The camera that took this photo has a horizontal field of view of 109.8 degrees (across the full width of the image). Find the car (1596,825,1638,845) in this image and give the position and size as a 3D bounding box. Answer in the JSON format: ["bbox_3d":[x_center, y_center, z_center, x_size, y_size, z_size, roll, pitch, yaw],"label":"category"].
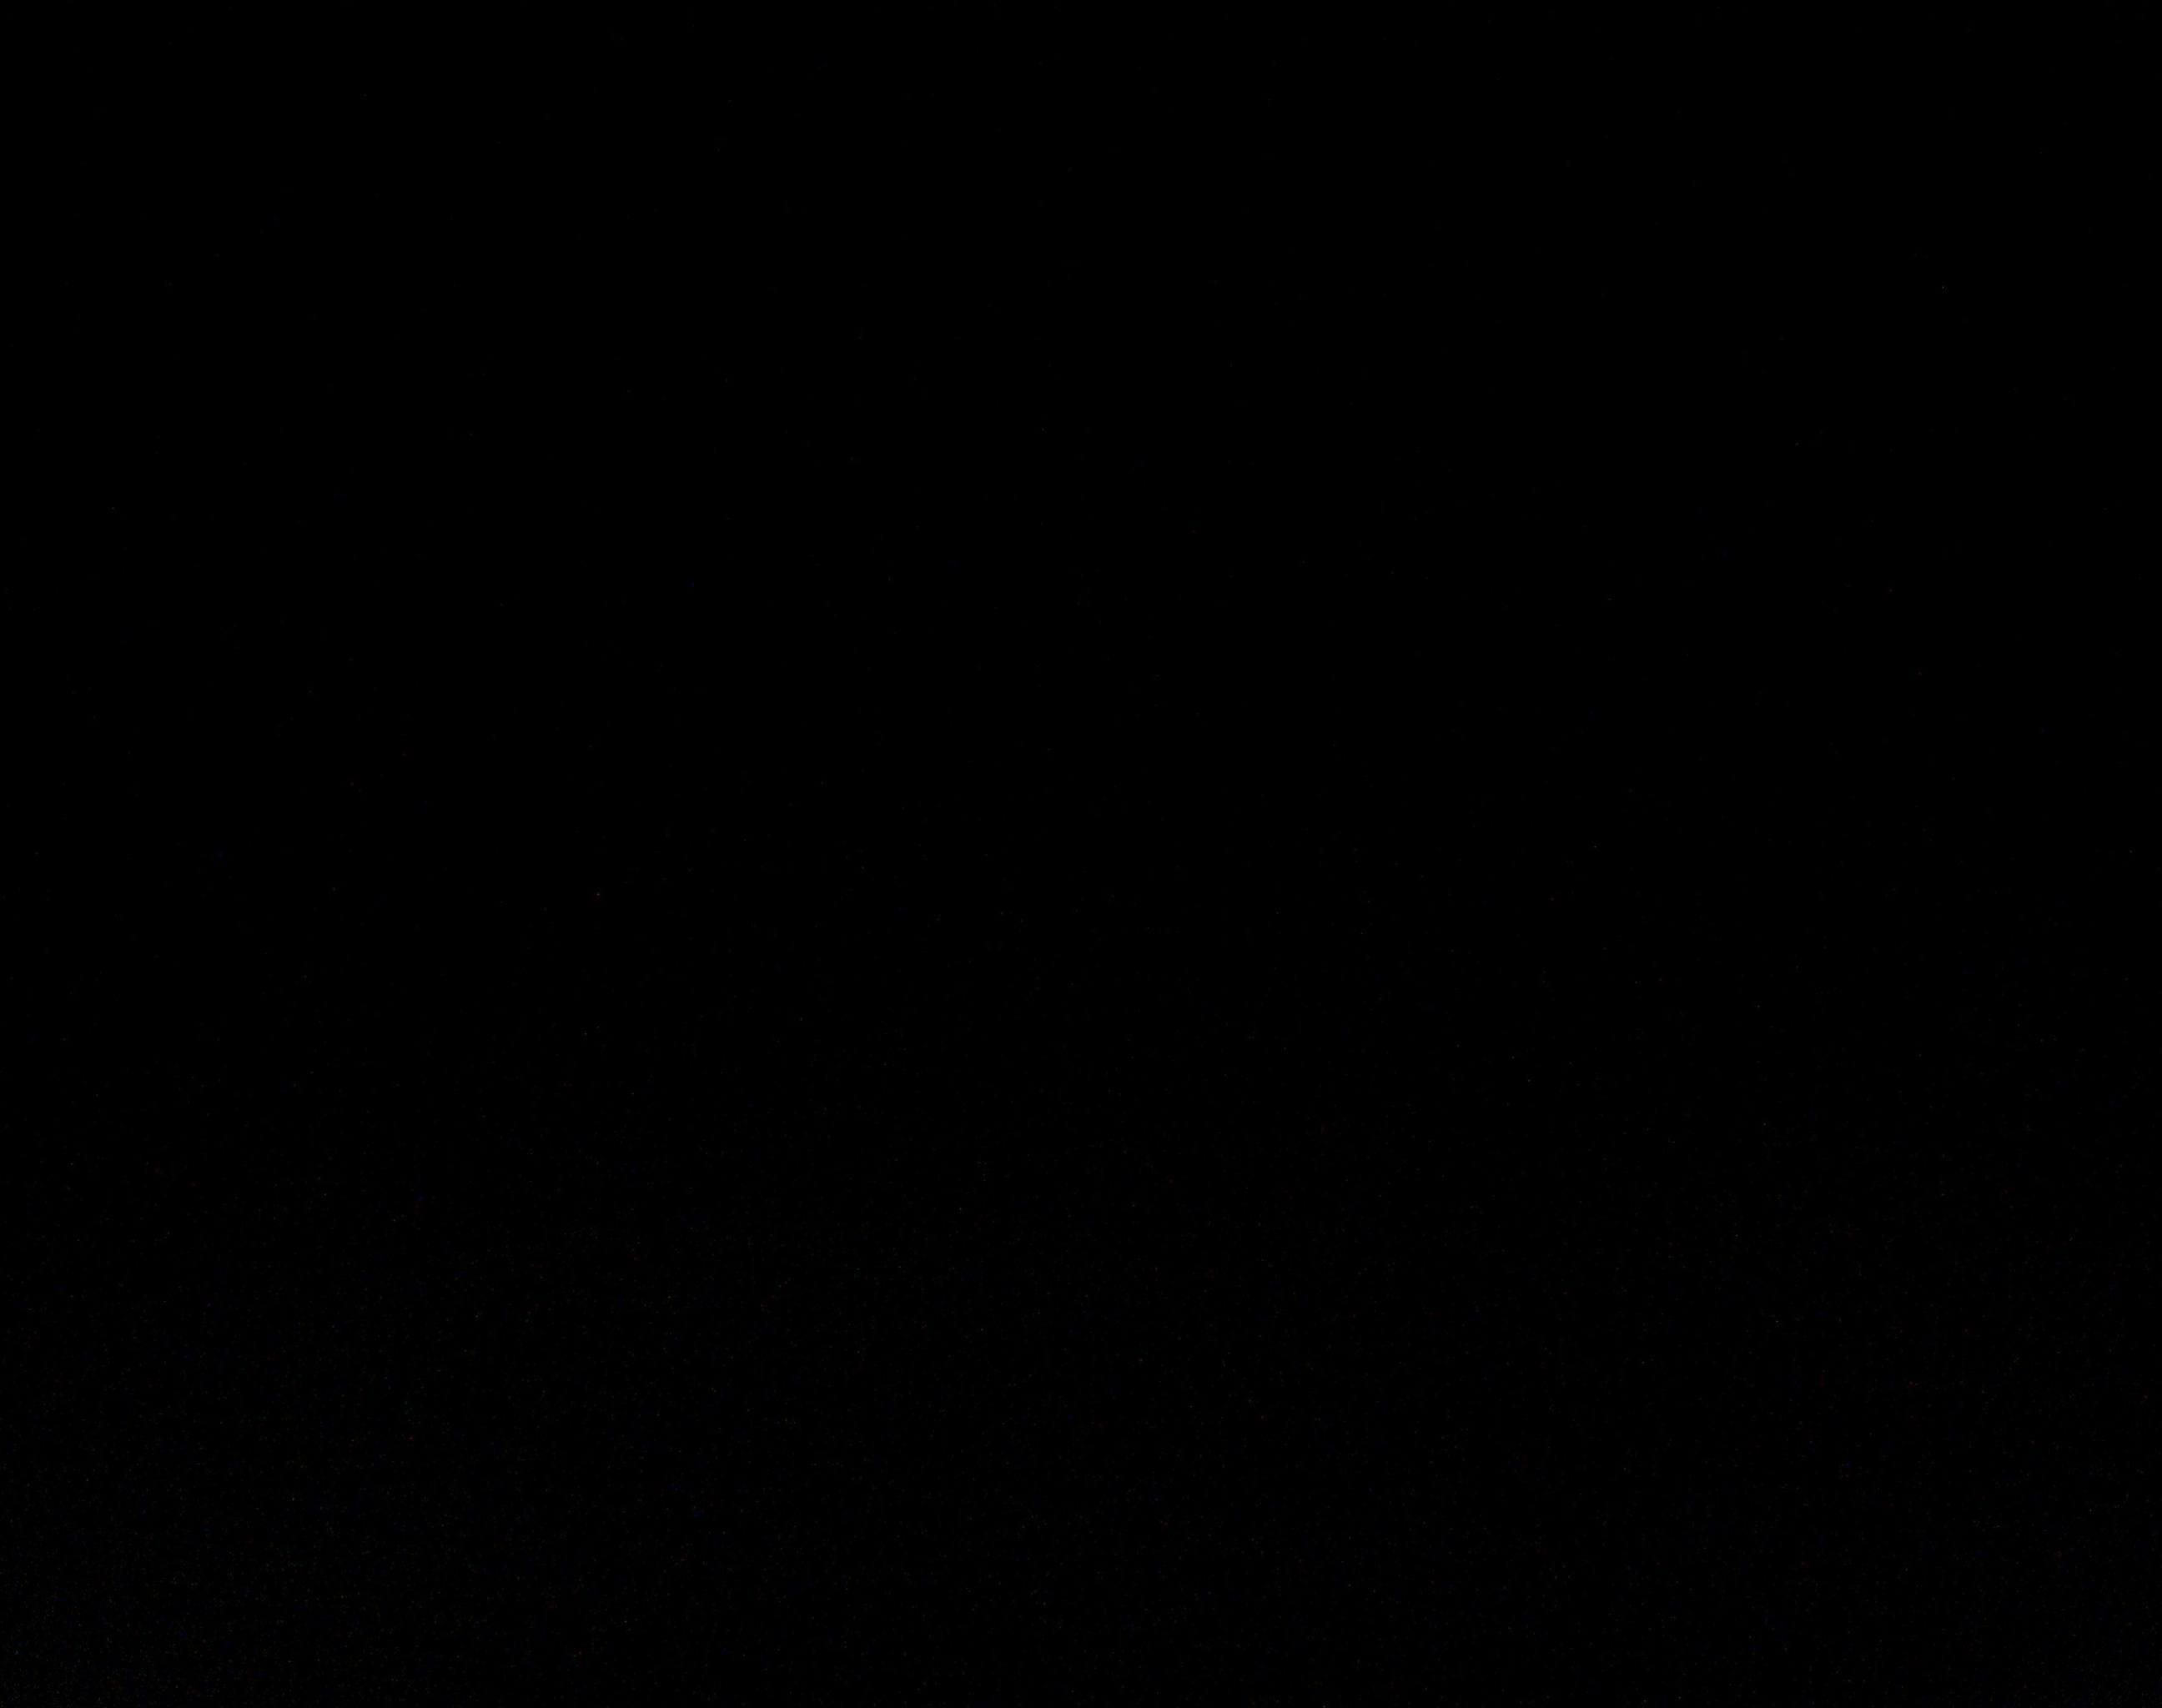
[{"bbox_3d":[49.018,-1.691,69.540,1.785,1.747,4.004,1,1,15],"label":"car"}]
